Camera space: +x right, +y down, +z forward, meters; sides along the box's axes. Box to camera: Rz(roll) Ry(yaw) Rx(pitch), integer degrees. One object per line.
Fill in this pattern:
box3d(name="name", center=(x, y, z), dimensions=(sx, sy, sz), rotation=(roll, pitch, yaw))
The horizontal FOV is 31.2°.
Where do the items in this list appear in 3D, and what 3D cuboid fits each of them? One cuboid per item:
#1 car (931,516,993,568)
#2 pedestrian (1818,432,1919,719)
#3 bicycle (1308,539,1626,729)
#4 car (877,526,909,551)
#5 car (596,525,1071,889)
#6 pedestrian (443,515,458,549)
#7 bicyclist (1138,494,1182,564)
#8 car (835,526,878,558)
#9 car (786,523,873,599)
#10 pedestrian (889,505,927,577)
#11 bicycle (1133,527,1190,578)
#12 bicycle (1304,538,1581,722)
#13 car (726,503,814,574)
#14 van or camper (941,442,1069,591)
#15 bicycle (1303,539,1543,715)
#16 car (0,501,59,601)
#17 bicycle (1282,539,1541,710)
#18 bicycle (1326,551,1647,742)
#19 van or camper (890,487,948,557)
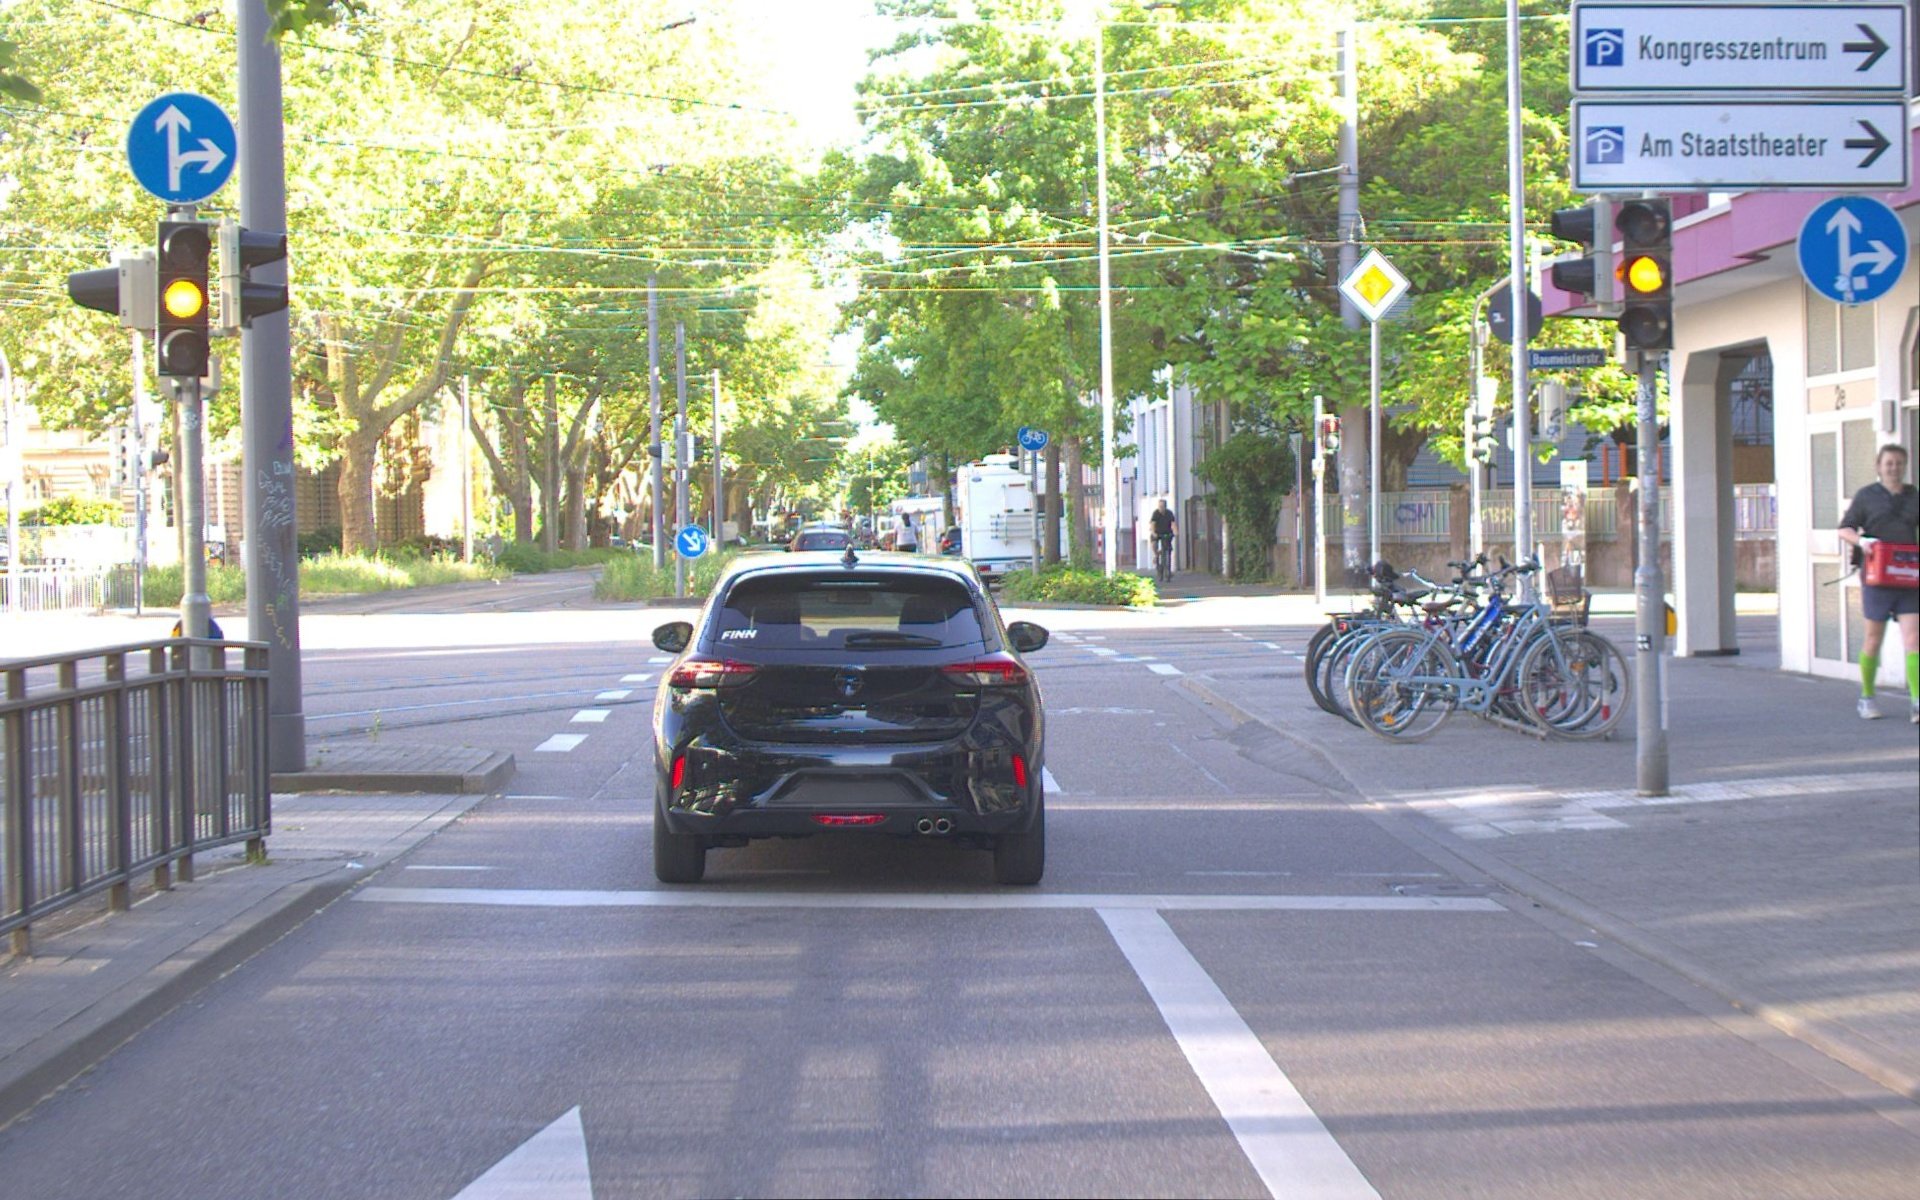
box3d(name="car", center=(0.033, -1.799, 106.023), dimensions=(1.790, 1.505, 3.874), rotation=(-3, 1, -1))
box3d(name="pedestrian", center=(6.138, -0.173, 22.667), dimensions=(0.722, 1.851, 0.801), rotation=(-1, 1, -1))
box3d(name="bicycle", center=(3.339, 0.215, 22.720), dimensions=(1.976, 1.195, 0.591), rotation=(-1, 1, -5))
box3d(name="car", center=(-4.081, -3.771, 209.730), dimensions=(1.905, 1.420, 4.216), rotation=(-1, 2, 0))
box3d(name="car", center=(-0.522, 0.389, 16.058), dimensions=(1.905, 1.420, 4.216), rotation=(-1, 2, 0))
box3d(name="pedestrian", center=(-24.495, -3.247, 165.283), dimensions=(0.658, 1.616, 0.615), rotation=(1, 1, -2))
box3d(name="bicyclist", center=(4.335, -1.540, 74.592), dimensions=(0.748, 1.504, 0.702), rotation=(-1, 1, -15))
box3d(name="car", center=(-4.830, -2.732, 160.726), dimensions=(1.905, 1.420, 4.216), rotation=(-1, 2, 0))
box3d(name="car", center=(-2.867, -0.884, 76.305), dimensions=(1.832, 1.617, 4.285), rotation=(0, 1, -1))
box3d(name="pedestrian", center=(-1.475, -1.689, 97.502), dimensions=(1.036, 2.017, 1.213), rotation=(-1, 1, -2))
box3d(name="bicycle", center=(4.359, -1.041, 74.533), dimensions=(0.639, 1.066, 1.951), rotation=(-1, 1, -15))
box3d(name="bicycle", center=(3.301, 0.202, 23.611), dimensions=(1.831, 1.216, 0.496), rotation=(-1, 1, 3))
box3d(name="car", center=(-4.568, -1.507, 83.195), dimensions=(1.993, 1.622, 4.471), rotation=(1, 1, -2))
box3d(name="van or camper", center=(0.960, -1.918, 79.241), dimensions=(2.375, 3.114, 7.552), rotation=(-4, 2, -2))
box3d(name="bicycle", center=(3.244, 0.183, 24.181), dimensions=(1.623, 1.195, 0.496), rotation=(-1, 1, 4))
box3d(name="car", center=(-19.775, -0.973, 68.659), dimensions=(1.994, 1.941, 4.423), rotation=(-1, 2, 5))
box3d(name="bicycle", center=(3.262, 0.173, 24.929), dimensions=(1.802, 1.195, 0.545), rotation=(-1, 0, 4))
box3d(name="bicycle", center=(3.375, 0.290, 22.105), dimensions=(1.939, 1.166, 0.572), rotation=(-1, 1, -4))
box3d(name="van or camper", center=(-1.788, -3.457, 152.514), dimensions=(2.486, 2.983, 5.434), rotation=(1, 1, 0))
